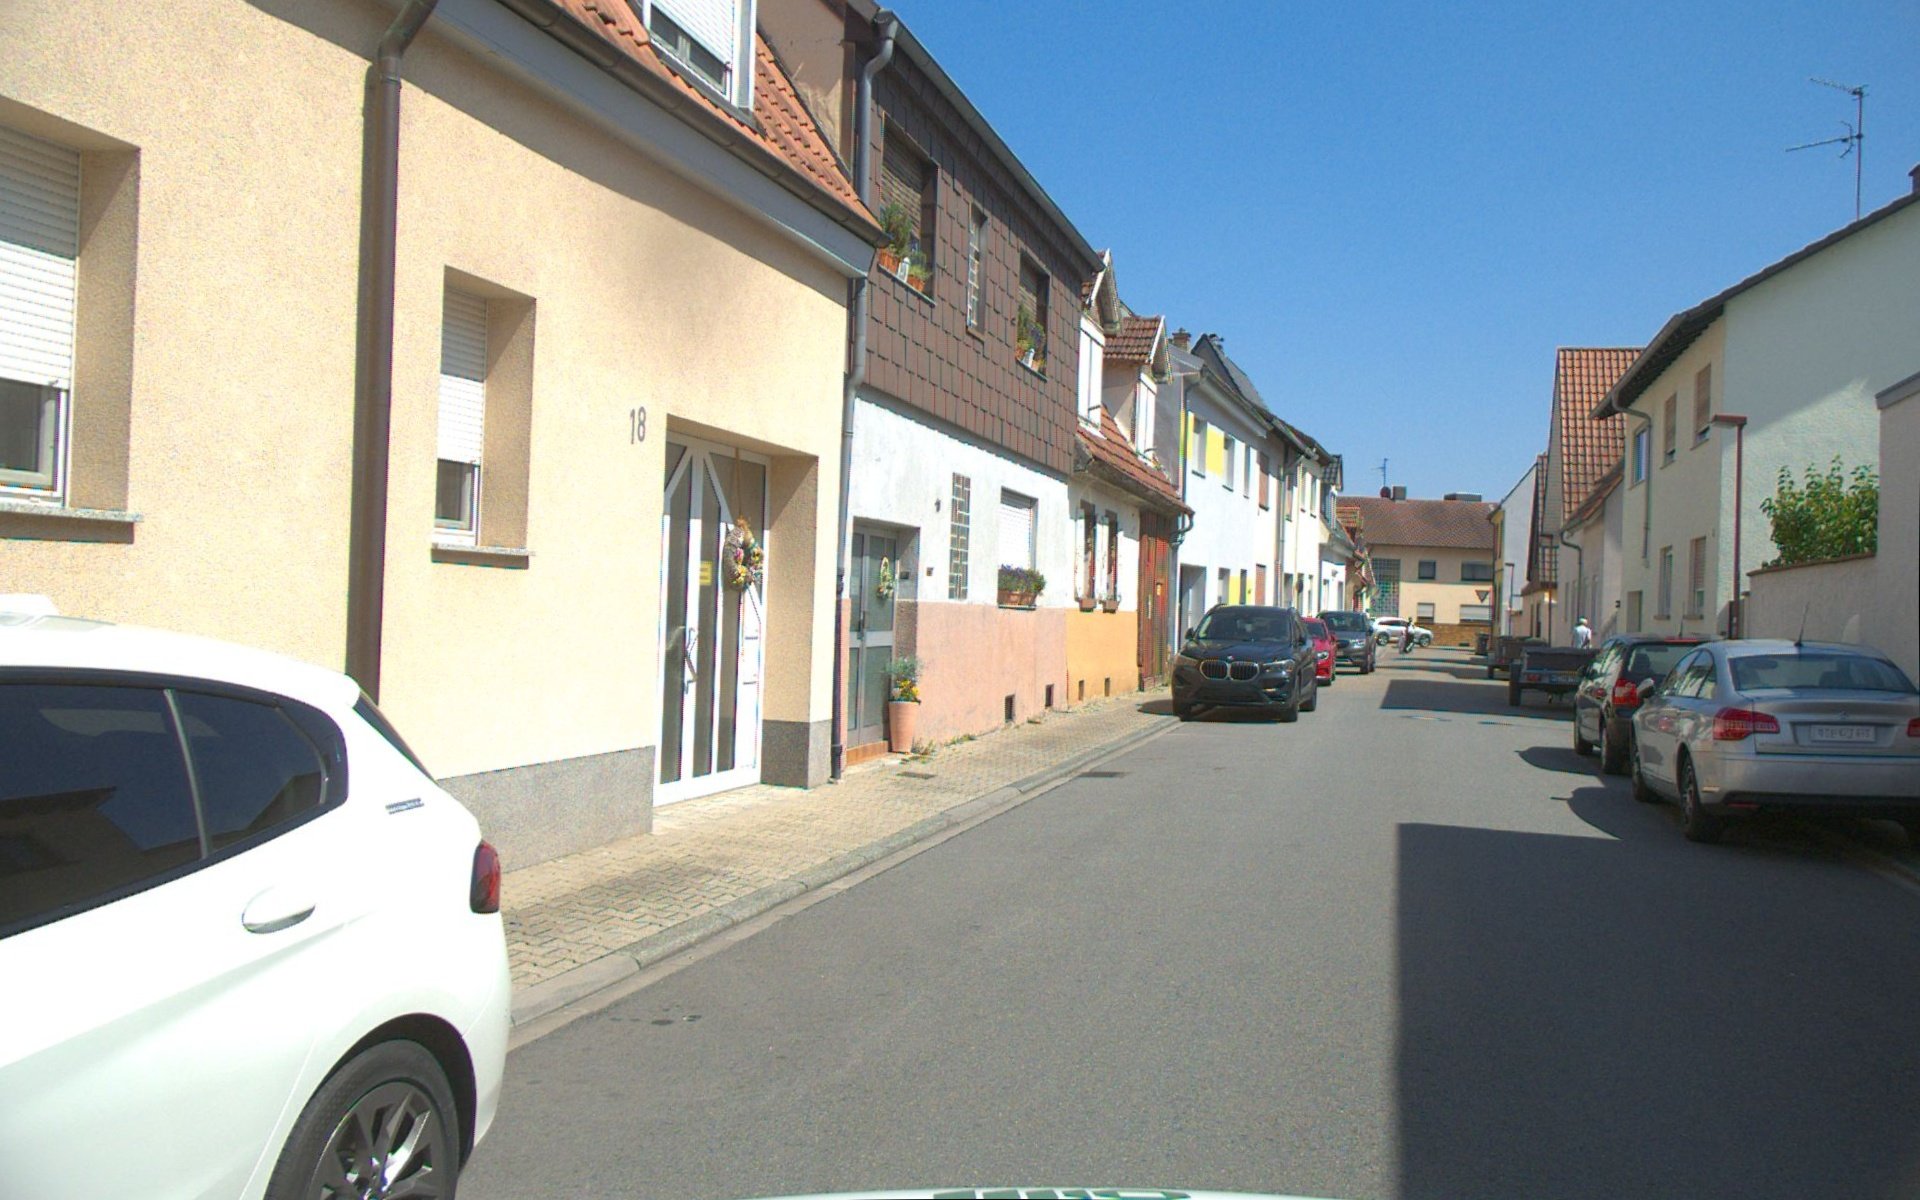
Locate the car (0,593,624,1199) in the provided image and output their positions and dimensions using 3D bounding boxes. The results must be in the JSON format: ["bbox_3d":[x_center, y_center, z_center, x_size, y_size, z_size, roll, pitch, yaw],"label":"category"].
[{"bbox_3d":[-2.222,0.708,2.072,1.745,1.479,4.218,1,-1,16],"label":"car"}]

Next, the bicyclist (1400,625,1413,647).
[{"bbox_3d":[20.392,1.643,75.492,0.454,0.976,0.350,0,-1,-17],"label":"bicyclist"}]

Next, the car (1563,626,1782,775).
[{"bbox_3d":[7.968,1.042,18.832,1.614,1.461,4.137,1,-1,14],"label":"car"}]

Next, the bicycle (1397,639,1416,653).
[{"bbox_3d":[20.377,2.096,75.524,0.434,0.577,0.935,2,0,-15],"label":"bicycle"}]

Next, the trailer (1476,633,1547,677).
[{"bbox_3d":[14.851,1.449,44.645,1.664,1.051,3.483,2,0,16],"label":"trailer"}]

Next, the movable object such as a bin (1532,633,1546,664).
[{"bbox_3d":[21.081,1.753,60.221,0.448,1.106,0.502,1,-1,15],"label":"movable object such as a bin"}]

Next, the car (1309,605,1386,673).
[{"bbox_3d":[10.403,1.022,44.248,1.762,1.734,4.490,0,-1,16],"label":"car"}]

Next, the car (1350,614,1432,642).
[{"bbox_3d":[26.856,1.758,103.129,4.669,1.613,1.795,2,-1,-14],"label":"car"}]

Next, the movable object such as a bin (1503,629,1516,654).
[{"bbox_3d":[24.940,1.880,75.061,0.514,1.147,0.366,1,-1,14],"label":"movable object such as a bin"}]

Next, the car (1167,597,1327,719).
[{"bbox_3d":[4.383,0.809,24.678,1.762,1.601,4.617,1,-1,17],"label":"car"}]

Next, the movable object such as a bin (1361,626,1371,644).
[{"bbox_3d":[20.996,1.813,85.524,0.439,0.937,0.404,1,-1,14],"label":"movable object such as a bin"}]

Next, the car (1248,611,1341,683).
[{"bbox_3d":[7.529,1.023,36.993,1.762,1.466,4.490,1,-1,15],"label":"car"}]

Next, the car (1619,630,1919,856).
[{"bbox_3d":[6.664,1.003,13.602,1.753,1.507,4.936,0,-1,15],"label":"car"}]

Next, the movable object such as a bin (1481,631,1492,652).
[{"bbox_3d":[24.932,1.955,78.330,0.415,0.992,0.474,1,-1,14],"label":"movable object such as a bin"}]

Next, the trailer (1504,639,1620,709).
[{"bbox_3d":[10.963,1.316,30.311,1.779,1.109,3.483,2,0,17],"label":"trailer"}]

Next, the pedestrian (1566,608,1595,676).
[{"bbox_3d":[14.877,1.006,39.655,0.583,1.592,0.557,1,-4,14],"label":"pedestrian"}]
